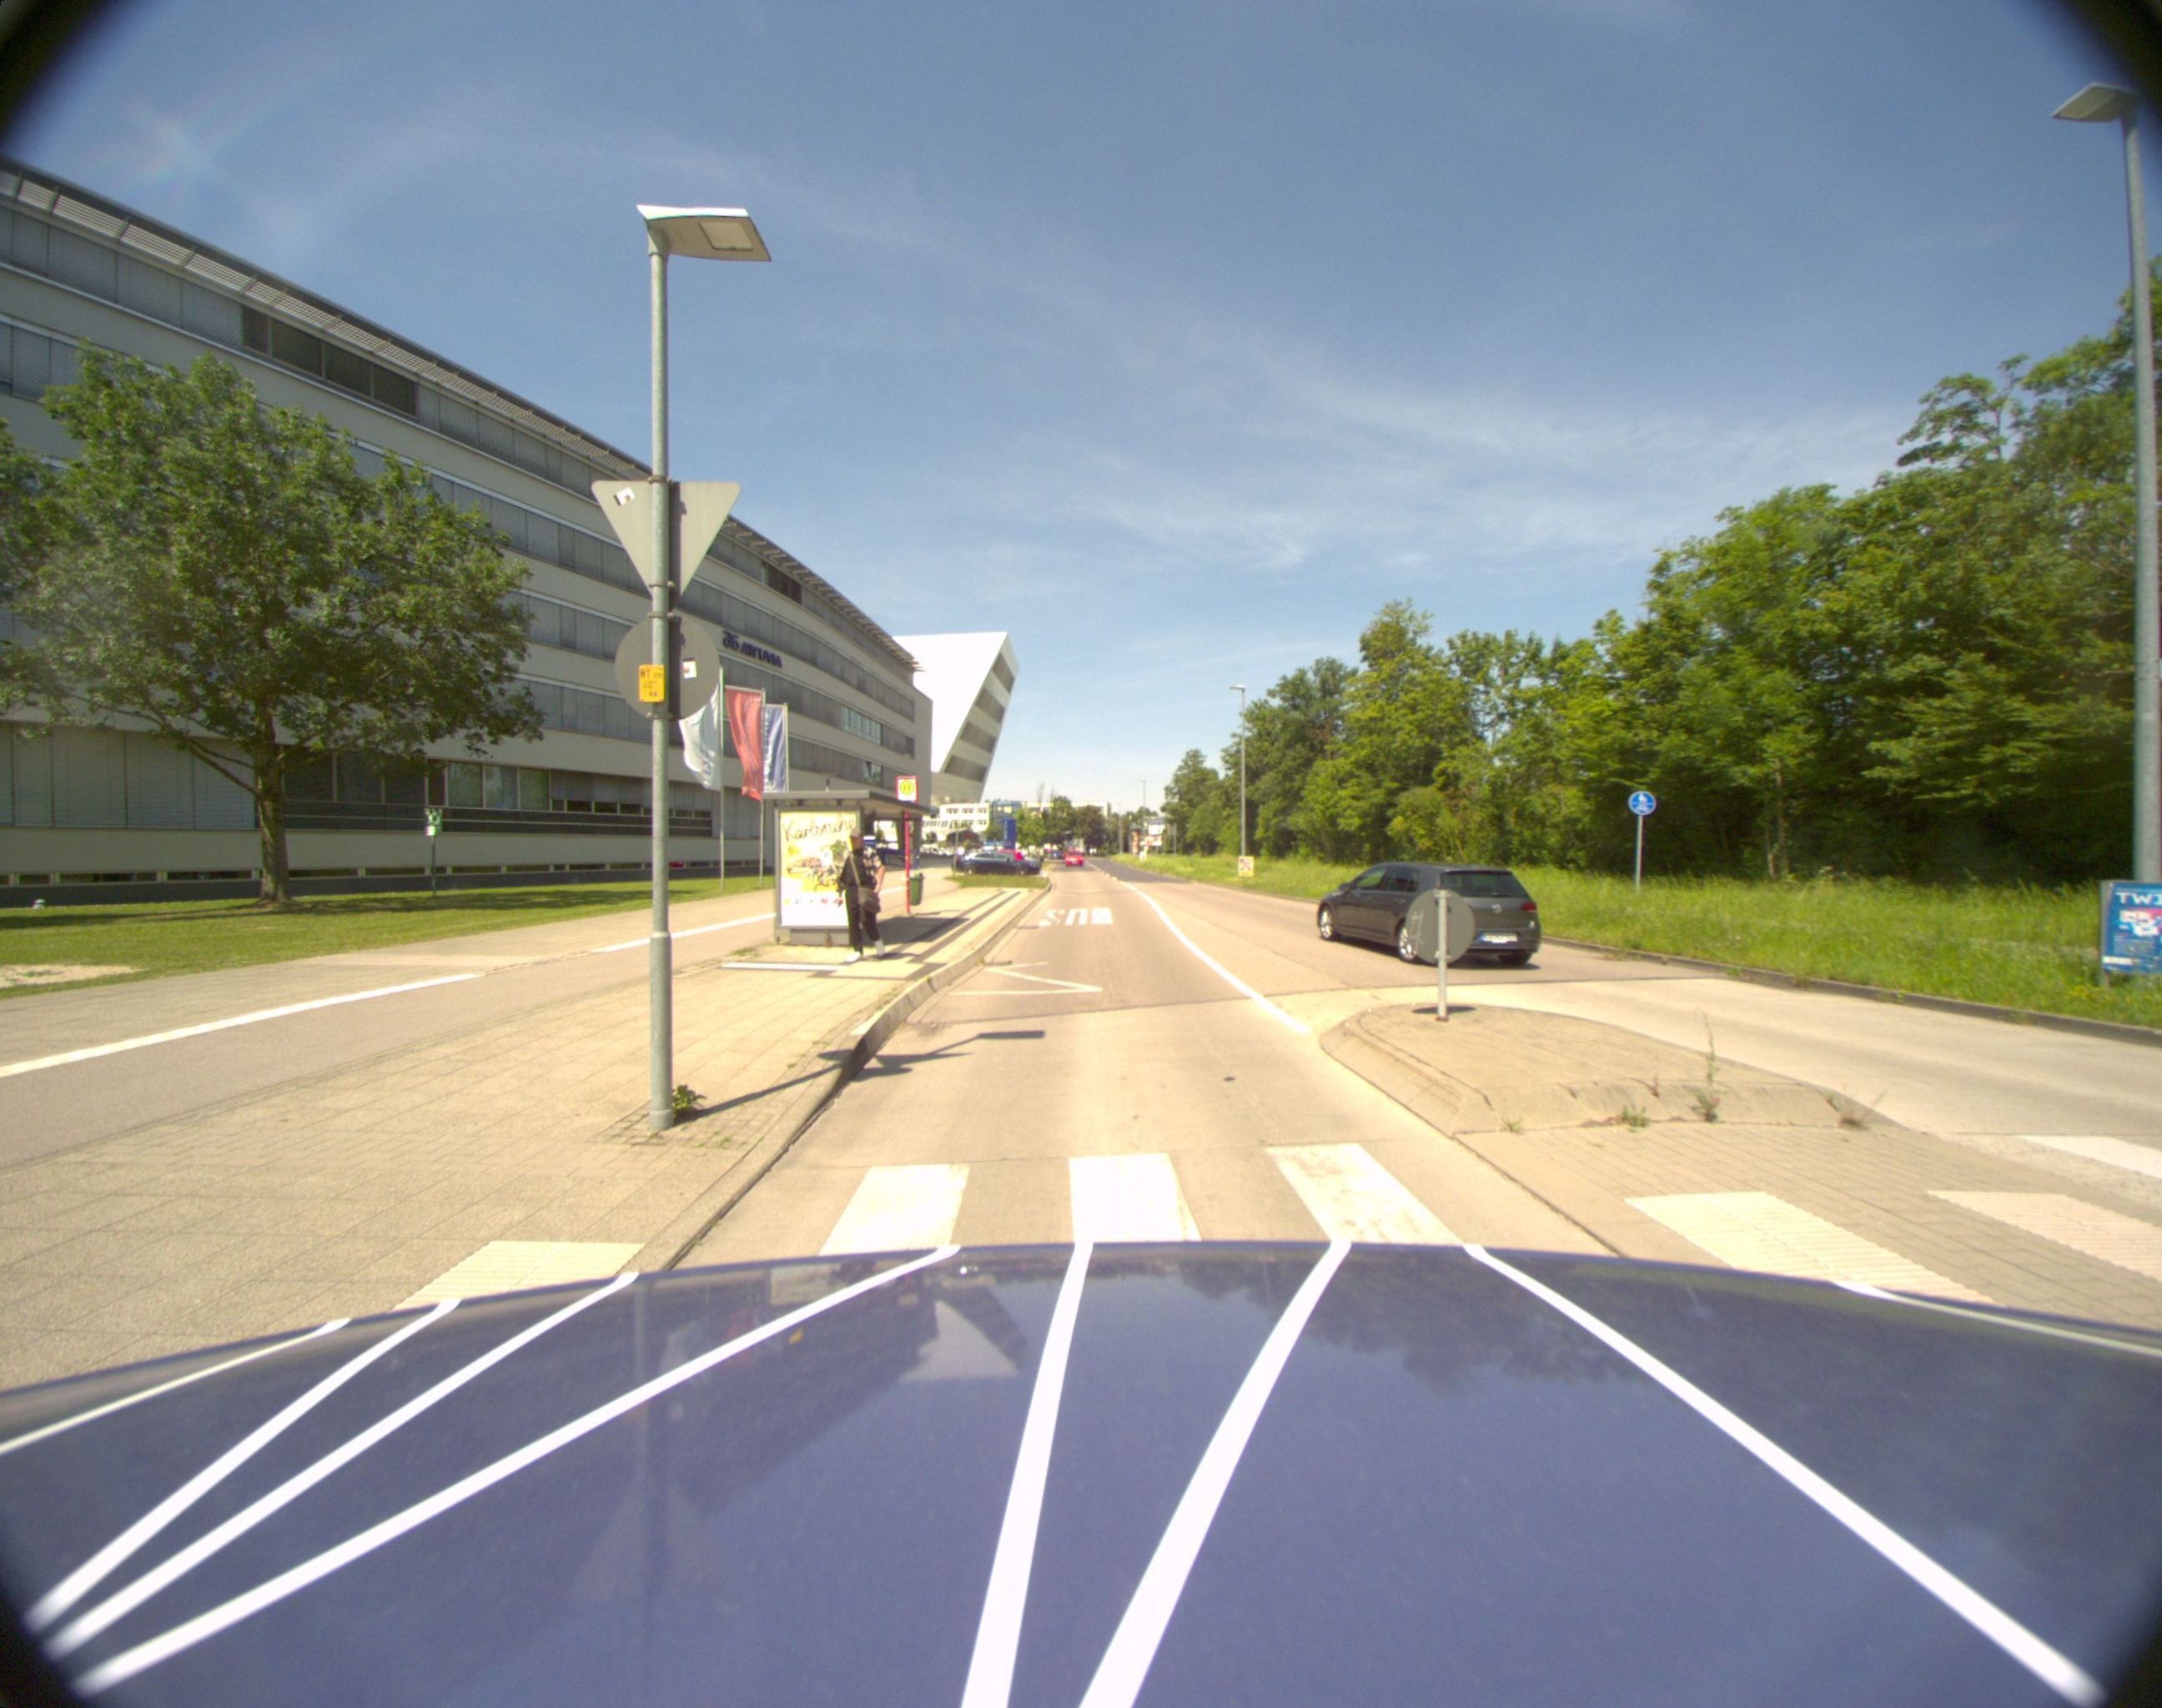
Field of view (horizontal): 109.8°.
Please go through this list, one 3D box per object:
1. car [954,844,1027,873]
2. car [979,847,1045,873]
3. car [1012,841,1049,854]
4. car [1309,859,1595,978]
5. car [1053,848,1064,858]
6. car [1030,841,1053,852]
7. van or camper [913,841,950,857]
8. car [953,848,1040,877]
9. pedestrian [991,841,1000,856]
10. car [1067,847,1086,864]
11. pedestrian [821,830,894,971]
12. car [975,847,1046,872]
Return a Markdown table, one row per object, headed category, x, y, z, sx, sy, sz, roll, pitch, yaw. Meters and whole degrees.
| category | x | y | z | sx | sy | sz | roll | pitch | yaw |
| --- | --- | --- | --- | --- | --- | --- | --- | --- | --- |
| car | -5.218 | 0.262 | 44.337 | 3.996 | 1.646 | 1.839 | 0 | 1 | 1 |
| car | -4.203 | 0.359 | 46.446 | 3.817 | 1.477 | 1.655 | 1 | 1 | 1 |
| car | -9.422 | -1.258 | 142.517 | 6.492 | 2.137 | 2.165 | -1 | 1 | 6 |
| car | 5.317 | 0.829 | 11.679 | 1.999 | 1.470 | 4.286 | 1 | 0 | -5 |
| car | -3.646 | -0.207 | 123.733 | 1.802 | 1.490 | 3.998 | -2 | 1 | -2 |
| car | -7.617 | -1.411 | 148.280 | 4.204 | 1.964 | 1.704 | -1 | 1 | 6 |
| van or camper | -24.616 | -0.832 | 125.224 | 5.699 | 2.376 | 1.704 | -1 | 1 | 6 |
| car | -4.571 | 0.462 | 41.621 | 4.580 | 1.424 | 1.826 | 1 | 1 | -3 |
| pedestrian | -9.304 | -0.605 | 82.554 | 0.844 | 1.650 | 0.775 | -2 | 1 | -2 |
| car | -0.412 | 0.088 | 70.631 | 1.662 | 1.495 | 3.356 | -1 | 1 | 1 |
| pedestrian | -2.989 | 0.598 | 10.225 | 0.710 | 1.812 | 0.826 | 2 | 1 | 0 |
| car | -4.483 | 0.339 | 48.863 | 4.331 | 1.555 | 1.786 | 1 | 1 | 0 |
